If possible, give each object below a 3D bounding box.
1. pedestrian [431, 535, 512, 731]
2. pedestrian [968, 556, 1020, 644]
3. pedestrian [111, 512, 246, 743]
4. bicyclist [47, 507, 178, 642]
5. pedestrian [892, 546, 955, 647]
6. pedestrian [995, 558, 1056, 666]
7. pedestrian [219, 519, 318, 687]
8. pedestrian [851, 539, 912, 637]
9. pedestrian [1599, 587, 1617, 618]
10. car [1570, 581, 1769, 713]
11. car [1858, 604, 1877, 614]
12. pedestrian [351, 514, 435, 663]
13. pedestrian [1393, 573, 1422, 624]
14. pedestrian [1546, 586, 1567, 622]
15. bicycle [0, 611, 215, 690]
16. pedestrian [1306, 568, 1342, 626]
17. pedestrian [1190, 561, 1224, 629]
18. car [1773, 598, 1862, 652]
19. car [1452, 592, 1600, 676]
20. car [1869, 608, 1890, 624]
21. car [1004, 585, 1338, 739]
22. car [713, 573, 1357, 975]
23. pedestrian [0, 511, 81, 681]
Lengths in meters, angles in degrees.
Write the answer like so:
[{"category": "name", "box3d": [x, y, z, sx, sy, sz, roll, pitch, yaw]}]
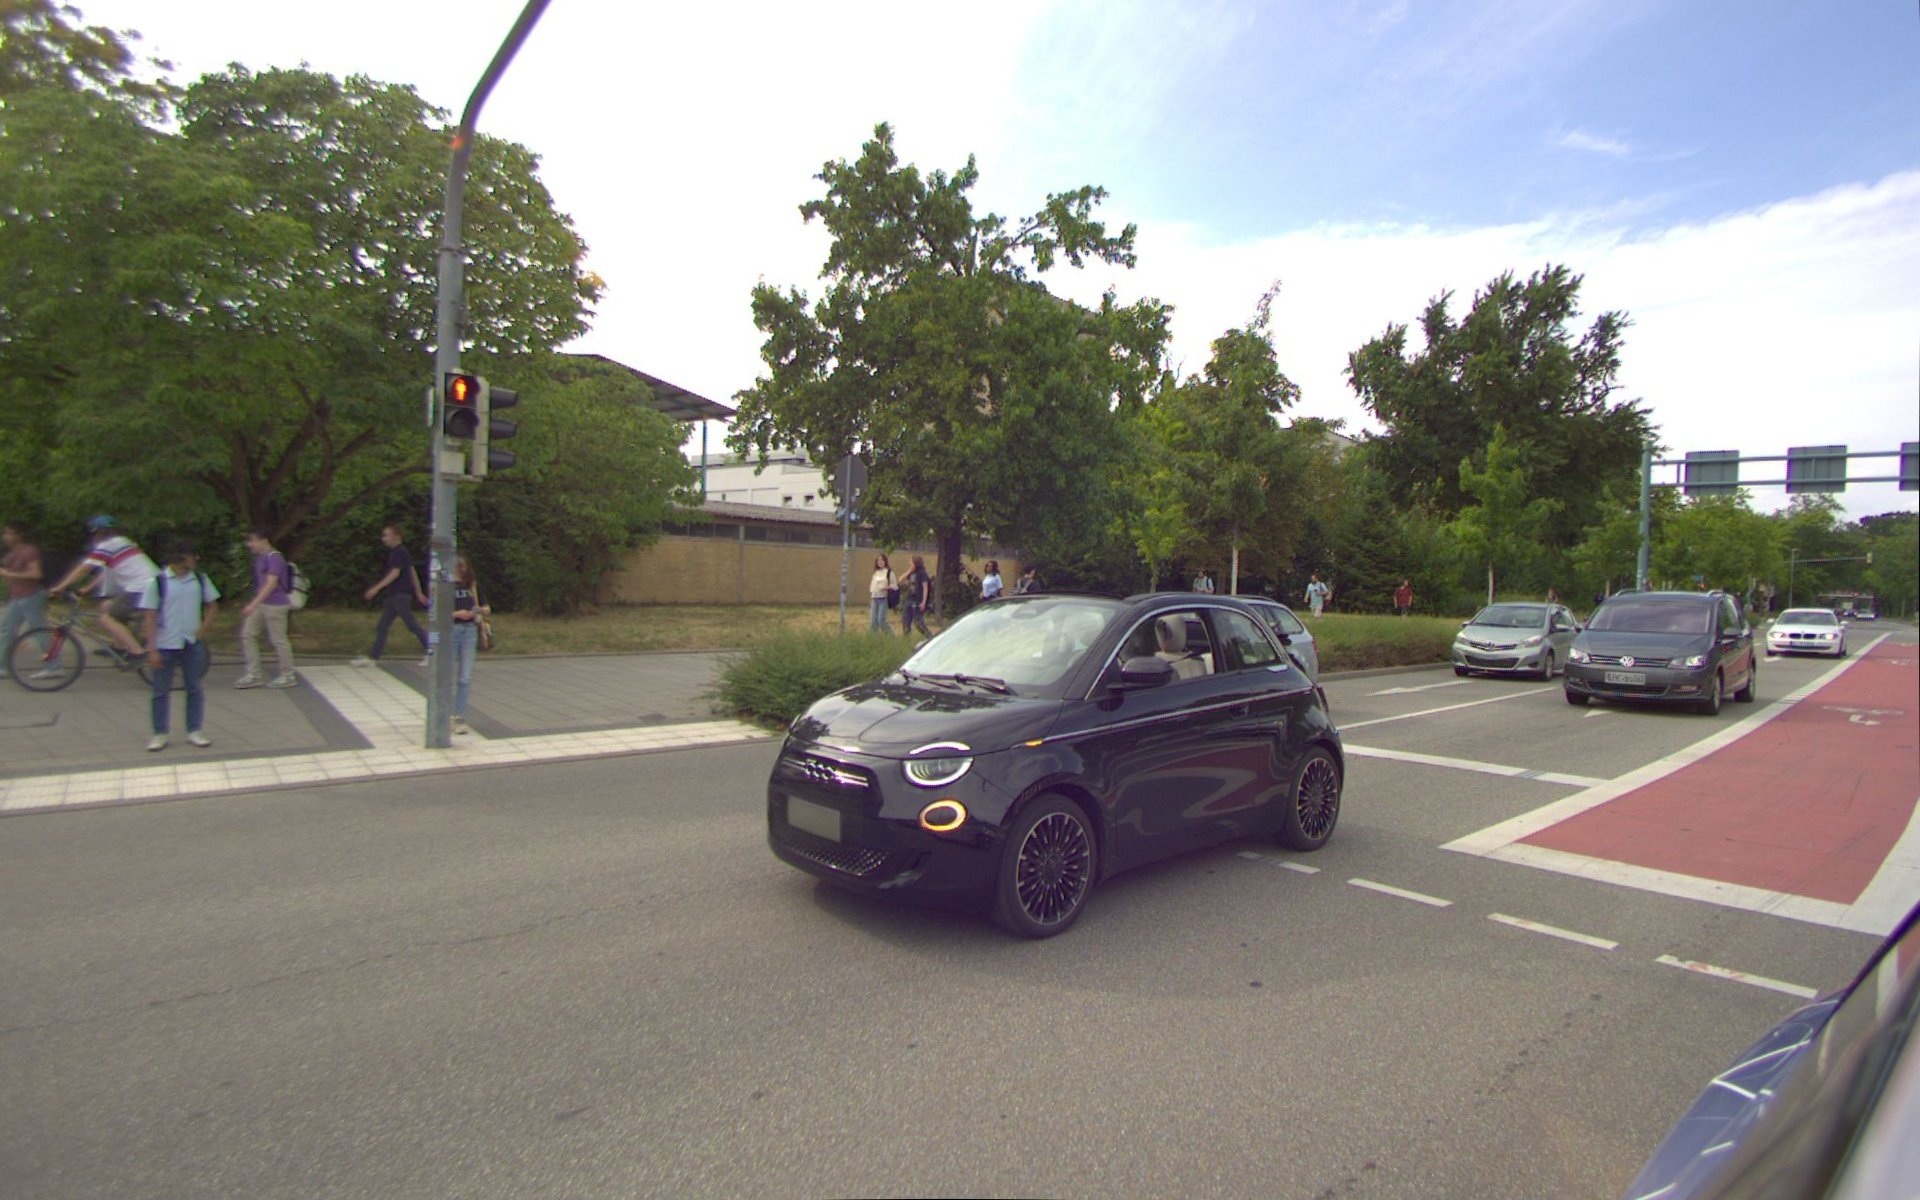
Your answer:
[{"category": "pedestrian", "box3d": [-4.501, 0.288, 9.321, 0.577, 1.732, 0.480, 0, 0, -40]}, {"category": "pedestrian", "box3d": [0.685, -0.006, 20.308, 0.711, 1.732, 0.788, 0, 0, 41]}, {"category": "pedestrian", "box3d": [-6.297, 0.201, 8.155, 0.825, 1.732, 0.799, 0, 0, -40]}, {"category": "bicyclist", "box3d": [-8.619, -0.251, 10.297, 0.996, 1.293, 0.838, 0, 0, -42]}, {"category": "pedestrian", "box3d": [-0.646, -0.059, 17.864, 0.832, 1.732, 0.791, 0, 0, 30]}, {"category": "pedestrian", "box3d": [1.075, 0.186, 16.638, 0.681, 1.732, 0.733, 0, 0, -42]}, {"category": "pedestrian", "box3d": [-7.561, 0.026, 11.064, 0.786, 1.732, 0.838, 0, 0, -42]}, {"category": "pedestrian", "box3d": [-1.425, -0.210, 18.416, 0.832, 1.732, 0.791, 0, 0, 30]}, {"category": "pedestrian", "box3d": [35.742, 0.125, 55.825, 0.712, 1.732, 0.684, 0, 0, 44]}, {"category": "car", "box3d": [10.712, 0.576, 15.136, 1.755, 1.671, 4.611, 0, 0, 44]}, {"category": "car", "box3d": [154.180, 1.503, 171.937, 3.931, 1.594, 1.996, 0, 0, -42]}, {"category": "pedestrian", "box3d": [-7.335, -0.146, 13.088, 0.786, 1.831, 0.838, 0, 0, -42]}, {"category": "pedestrian", "box3d": [15.511, -0.056, 35.078, 0.712, 1.732, 0.684, 0, 0, 44]}, {"category": "pedestrian", "box3d": [28.845, 0.182, 48.930, 0.712, 1.732, 0.684, 0, 0, 44]}, {"category": "bicycle", "box3d": [-8.694, 0.479, 10.217, 1.814, 0.702, 0.842, 0, 0, -43]}, {"category": "pedestrian", "box3d": [11.197, -0.094, 31.129, 0.839, 1.732, 0.685, 0, 0, 41]}, {"category": "pedestrian", "box3d": [6.400, -0.144, 26.232, 0.542, 1.716, 0.685, 4, 3, 41]}, {"category": "car", "box3d": [25.665, 0.679, 30.239, 1.755, 1.476, 4.156, 0, 0, 44]}, {"category": "car", "box3d": [11.361, 0.595, 20.208, 1.666, 1.508, 3.814, 0, 0, 44]}, {"category": "car", "box3d": [119.874, 2.059, 131.886, 1.993, 2.039, 3.939, 0, 0, 42]}, {"category": "car", "box3d": [2.676, 0.587, 12.076, 1.819, 1.493, 4.456, 0, 0, 44]}, {"category": "car", "box3d": [0.573, 0.632, 5.560, 3.382, 1.508, 1.668, 0, 1, -42]}, {"category": "pedestrian", "box3d": [-9.965, -0.043, 10.702, 0.996, 1.732, 0.838, 0, 0, -42]}]
